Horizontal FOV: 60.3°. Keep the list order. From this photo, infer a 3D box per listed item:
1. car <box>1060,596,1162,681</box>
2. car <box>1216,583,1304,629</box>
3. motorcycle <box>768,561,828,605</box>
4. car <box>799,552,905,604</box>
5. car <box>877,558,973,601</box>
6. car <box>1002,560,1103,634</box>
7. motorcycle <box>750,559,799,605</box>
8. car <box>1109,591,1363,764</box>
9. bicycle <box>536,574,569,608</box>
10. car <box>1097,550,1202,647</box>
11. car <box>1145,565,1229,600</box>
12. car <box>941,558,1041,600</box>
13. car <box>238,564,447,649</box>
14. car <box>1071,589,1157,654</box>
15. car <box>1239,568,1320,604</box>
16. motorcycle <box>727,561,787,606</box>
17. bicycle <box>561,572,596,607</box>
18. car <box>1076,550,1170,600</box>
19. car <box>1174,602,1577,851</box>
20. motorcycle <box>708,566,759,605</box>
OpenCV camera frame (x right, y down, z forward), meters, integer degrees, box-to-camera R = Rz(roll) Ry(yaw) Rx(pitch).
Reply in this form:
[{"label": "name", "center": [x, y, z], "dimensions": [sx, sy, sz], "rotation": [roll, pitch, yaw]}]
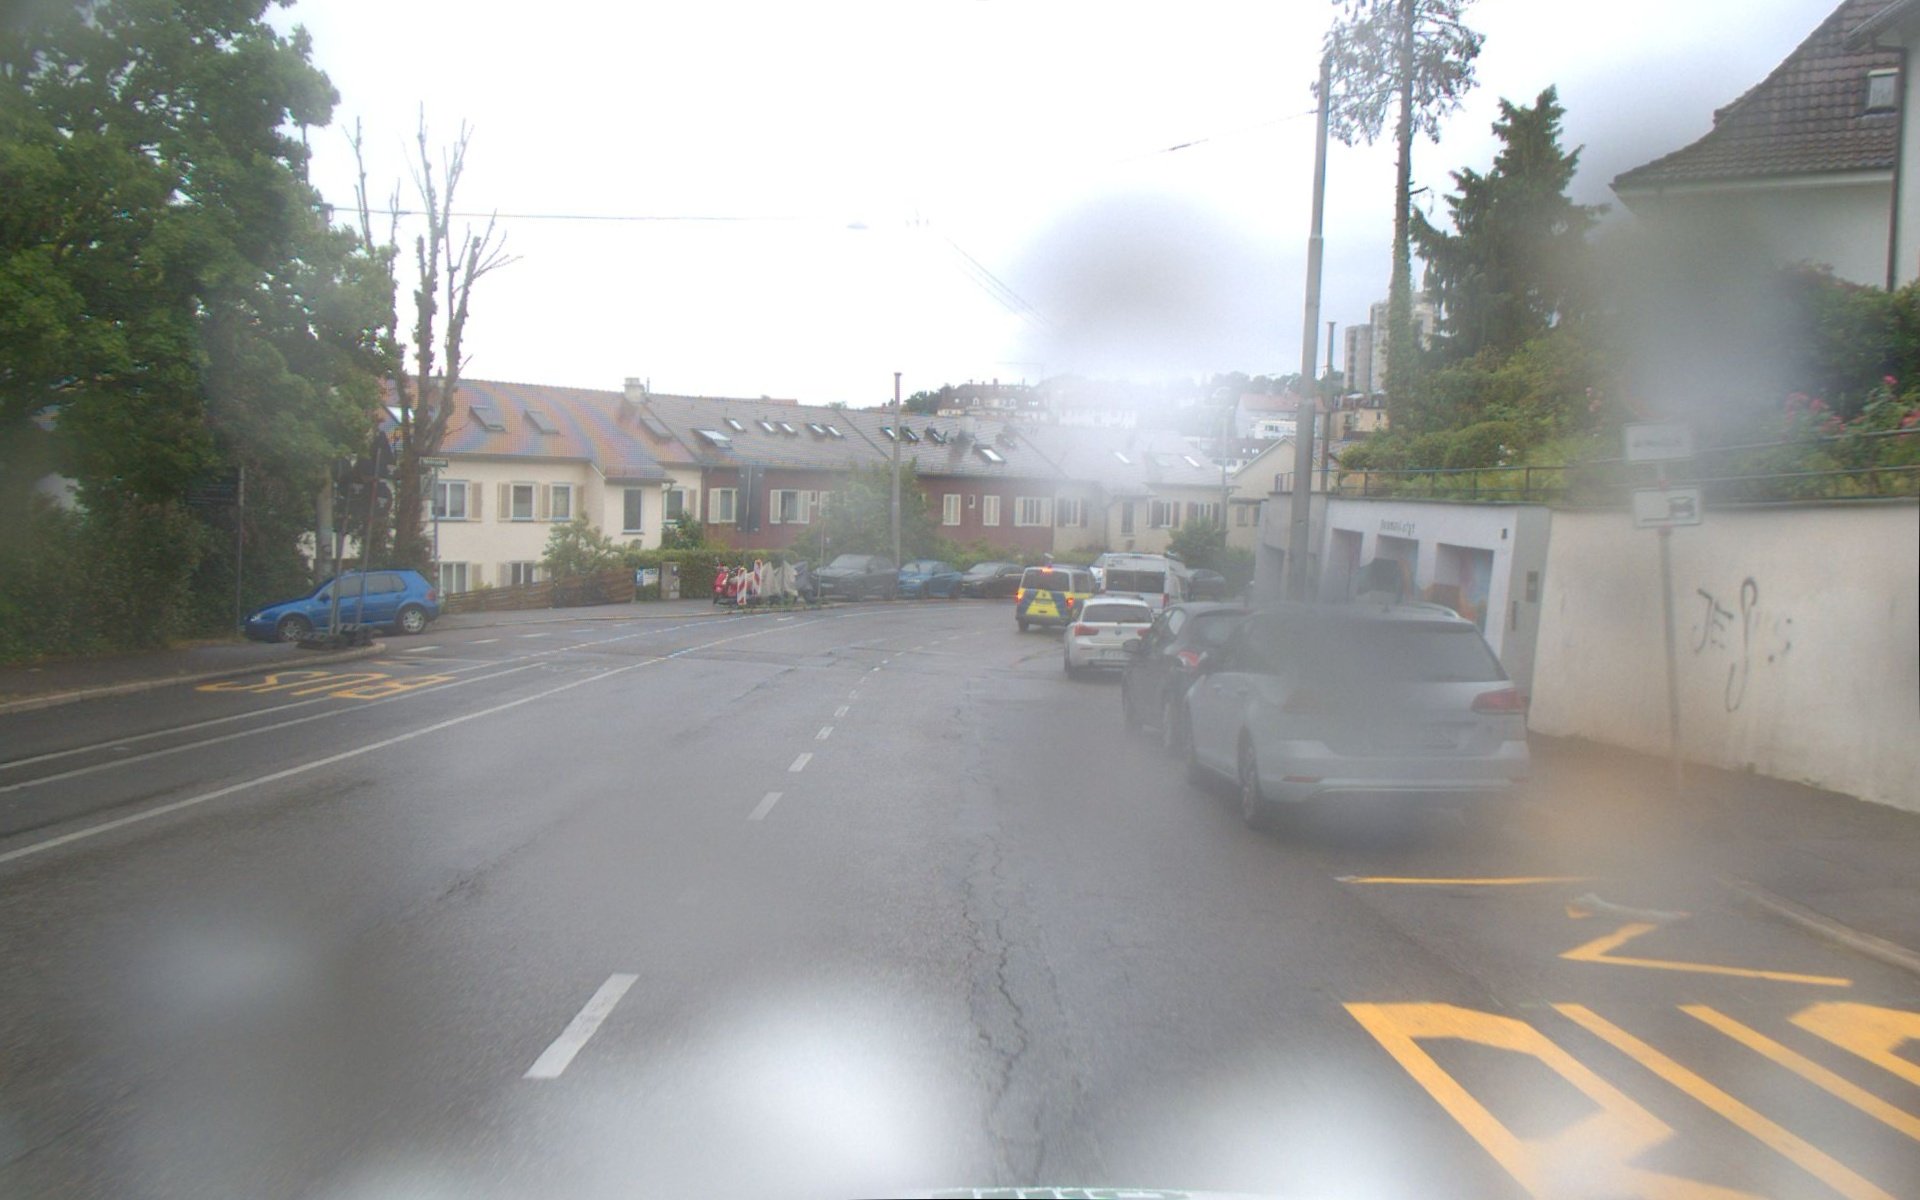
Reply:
[{"label": "car", "center": [2.756, 0.673, 30.950], "dimensions": [1.670, 1.439, 4.043], "rotation": [2, 0, 2]}, {"label": "car", "center": [11.315, 0.236, 62.152], "dimensions": [1.650, 1.508, 4.188], "rotation": [6, 3, 33]}, {"label": "motorcycle", "center": [-5.357, -0.554, 54.705], "dimensions": [1.866, 1.292, 0.574], "rotation": [4, 3, -10]}, {"label": "car", "center": [-3.771, -0.801, 58.502], "dimensions": [1.883, 1.603, 4.387], "rotation": [6, 3, 22]}, {"label": "car", "center": [-1.286, -0.811, 63.282], "dimensions": [1.667, 1.428, 4.468], "rotation": [6, 4, 27]}, {"label": "car", "center": [2.924, -0.156, 51.201], "dimensions": [2.260, 1.972, 4.329], "rotation": [5, 3, 13]}, {"label": "motorcycle", "center": [-5.969, -0.578, 53.295], "dimensions": [0.608, 1.325, 1.782], "rotation": [2, 4, -40]}, {"label": "car", "center": [2.688, 0.699, 17.003], "dimensions": [1.680, 1.540, 3.997], "rotation": [1, 0, -4]}, {"label": "bicycle", "center": [-12.956, -0.286, 52.564], "dimensions": [1.303, 1.053, 0.303], "rotation": [-2, -4, 40]}, {"label": "car", "center": [5.604, -0.056, 48.274], "dimensions": [2.054, 2.586, 5.623], "rotation": [2, 1, 16]}, {"label": "car", "center": [11.263, -0.868, 81.998], "dimensions": [1.784, 1.501, 4.492], "rotation": [7, 4, 43]}, {"label": "car", "center": [1.314, -0.857, 68.052], "dimensions": [1.779, 1.501, 4.504], "rotation": [6, 3, 36]}, {"label": "car", "center": [-13.431, 0.167, 36.074], "dimensions": [3.899, 1.695, 1.818], "rotation": [2, -1, -37]}, {"label": "car", "center": [4.048, 0.516, 42.936], "dimensions": [1.716, 1.521, 4.188], "rotation": [2, 1, 12]}, {"label": "car", "center": [17.010, -0.732, 87.988], "dimensions": [1.904, 1.658, 4.645], "rotation": [7, 4, 44]}, {"label": "motorcycle", "center": [-6.427, -0.531, 52.351], "dimensions": [1.765, 1.301, 0.511], "rotation": [5, 3, 21]}, {"label": "bicycle", "center": [-11.920, -0.317, 51.642], "dimensions": [1.278, 1.053, 0.304], "rotation": [-2, -4, 38]}, {"label": "car", "center": [7.670, -1.153, 77.521], "dimensions": [1.821, 2.114, 4.995], "rotation": [6, 3, 39]}, {"label": "car", "center": [2.745, 0.750, 11.985], "dimensions": [1.745, 1.445, 4.429], "rotation": [0, 0, -1]}, {"label": "motorcycle", "center": [-6.935, -0.455, 50.730], "dimensions": [0.500, 1.159, 1.920], "rotation": [2, 2, 27]}]
